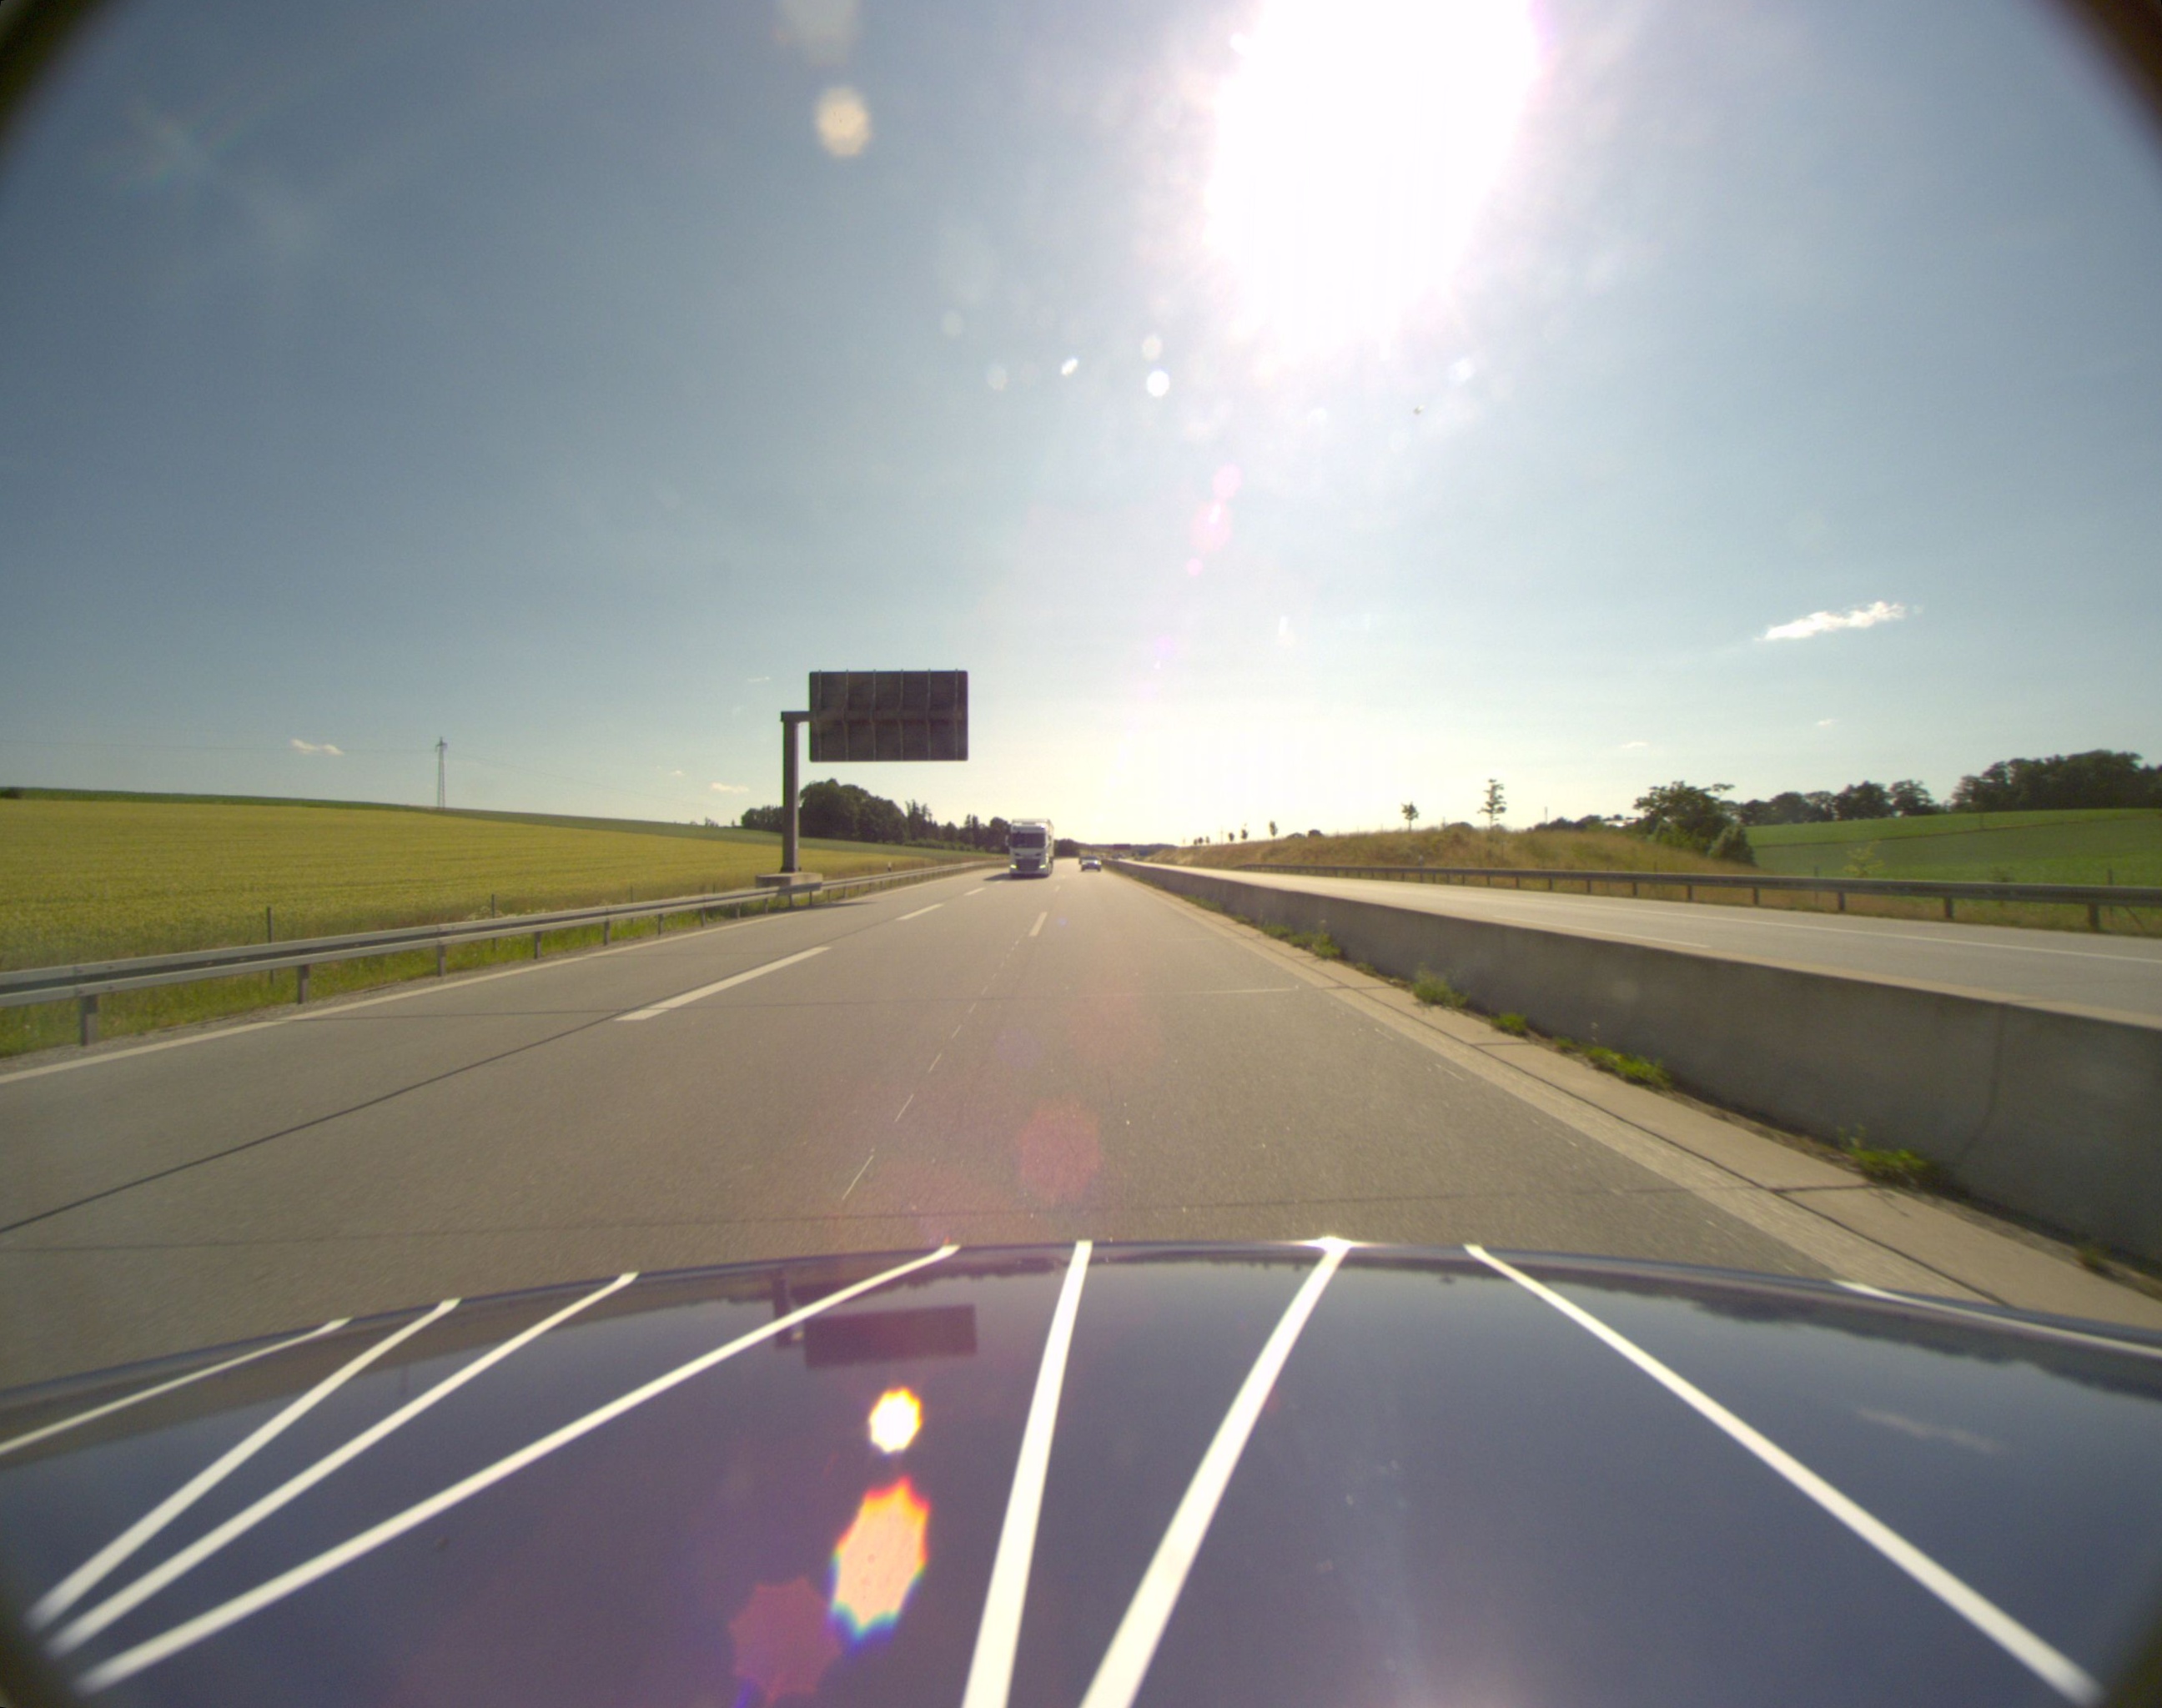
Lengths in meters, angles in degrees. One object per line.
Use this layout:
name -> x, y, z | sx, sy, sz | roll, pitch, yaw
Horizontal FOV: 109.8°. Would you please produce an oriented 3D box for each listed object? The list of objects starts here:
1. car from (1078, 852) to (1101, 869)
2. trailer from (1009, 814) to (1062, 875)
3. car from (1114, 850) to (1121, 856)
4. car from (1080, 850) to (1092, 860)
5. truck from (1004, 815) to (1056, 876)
car -> 0.855, 0.614, 72.817 | 1.891, 1.565, 3.793 | 0, 0, 5
trailer -> -3.468, -0.730, 61.999 | 3.184, 4.269, 15.458 | 2, 0, 0
car -> 12.352, -0.419, 259.570 | 2.239, 1.923, 5.794 | 0, 0, 0
car -> 0.744, 0.150, 125.680 | 1.900, 1.560, 3.999 | 0, 0, 0
truck -> -3.421, -0.565, 52.739 | 3.090, 3.991, 6.188 | 1, 1, 0
